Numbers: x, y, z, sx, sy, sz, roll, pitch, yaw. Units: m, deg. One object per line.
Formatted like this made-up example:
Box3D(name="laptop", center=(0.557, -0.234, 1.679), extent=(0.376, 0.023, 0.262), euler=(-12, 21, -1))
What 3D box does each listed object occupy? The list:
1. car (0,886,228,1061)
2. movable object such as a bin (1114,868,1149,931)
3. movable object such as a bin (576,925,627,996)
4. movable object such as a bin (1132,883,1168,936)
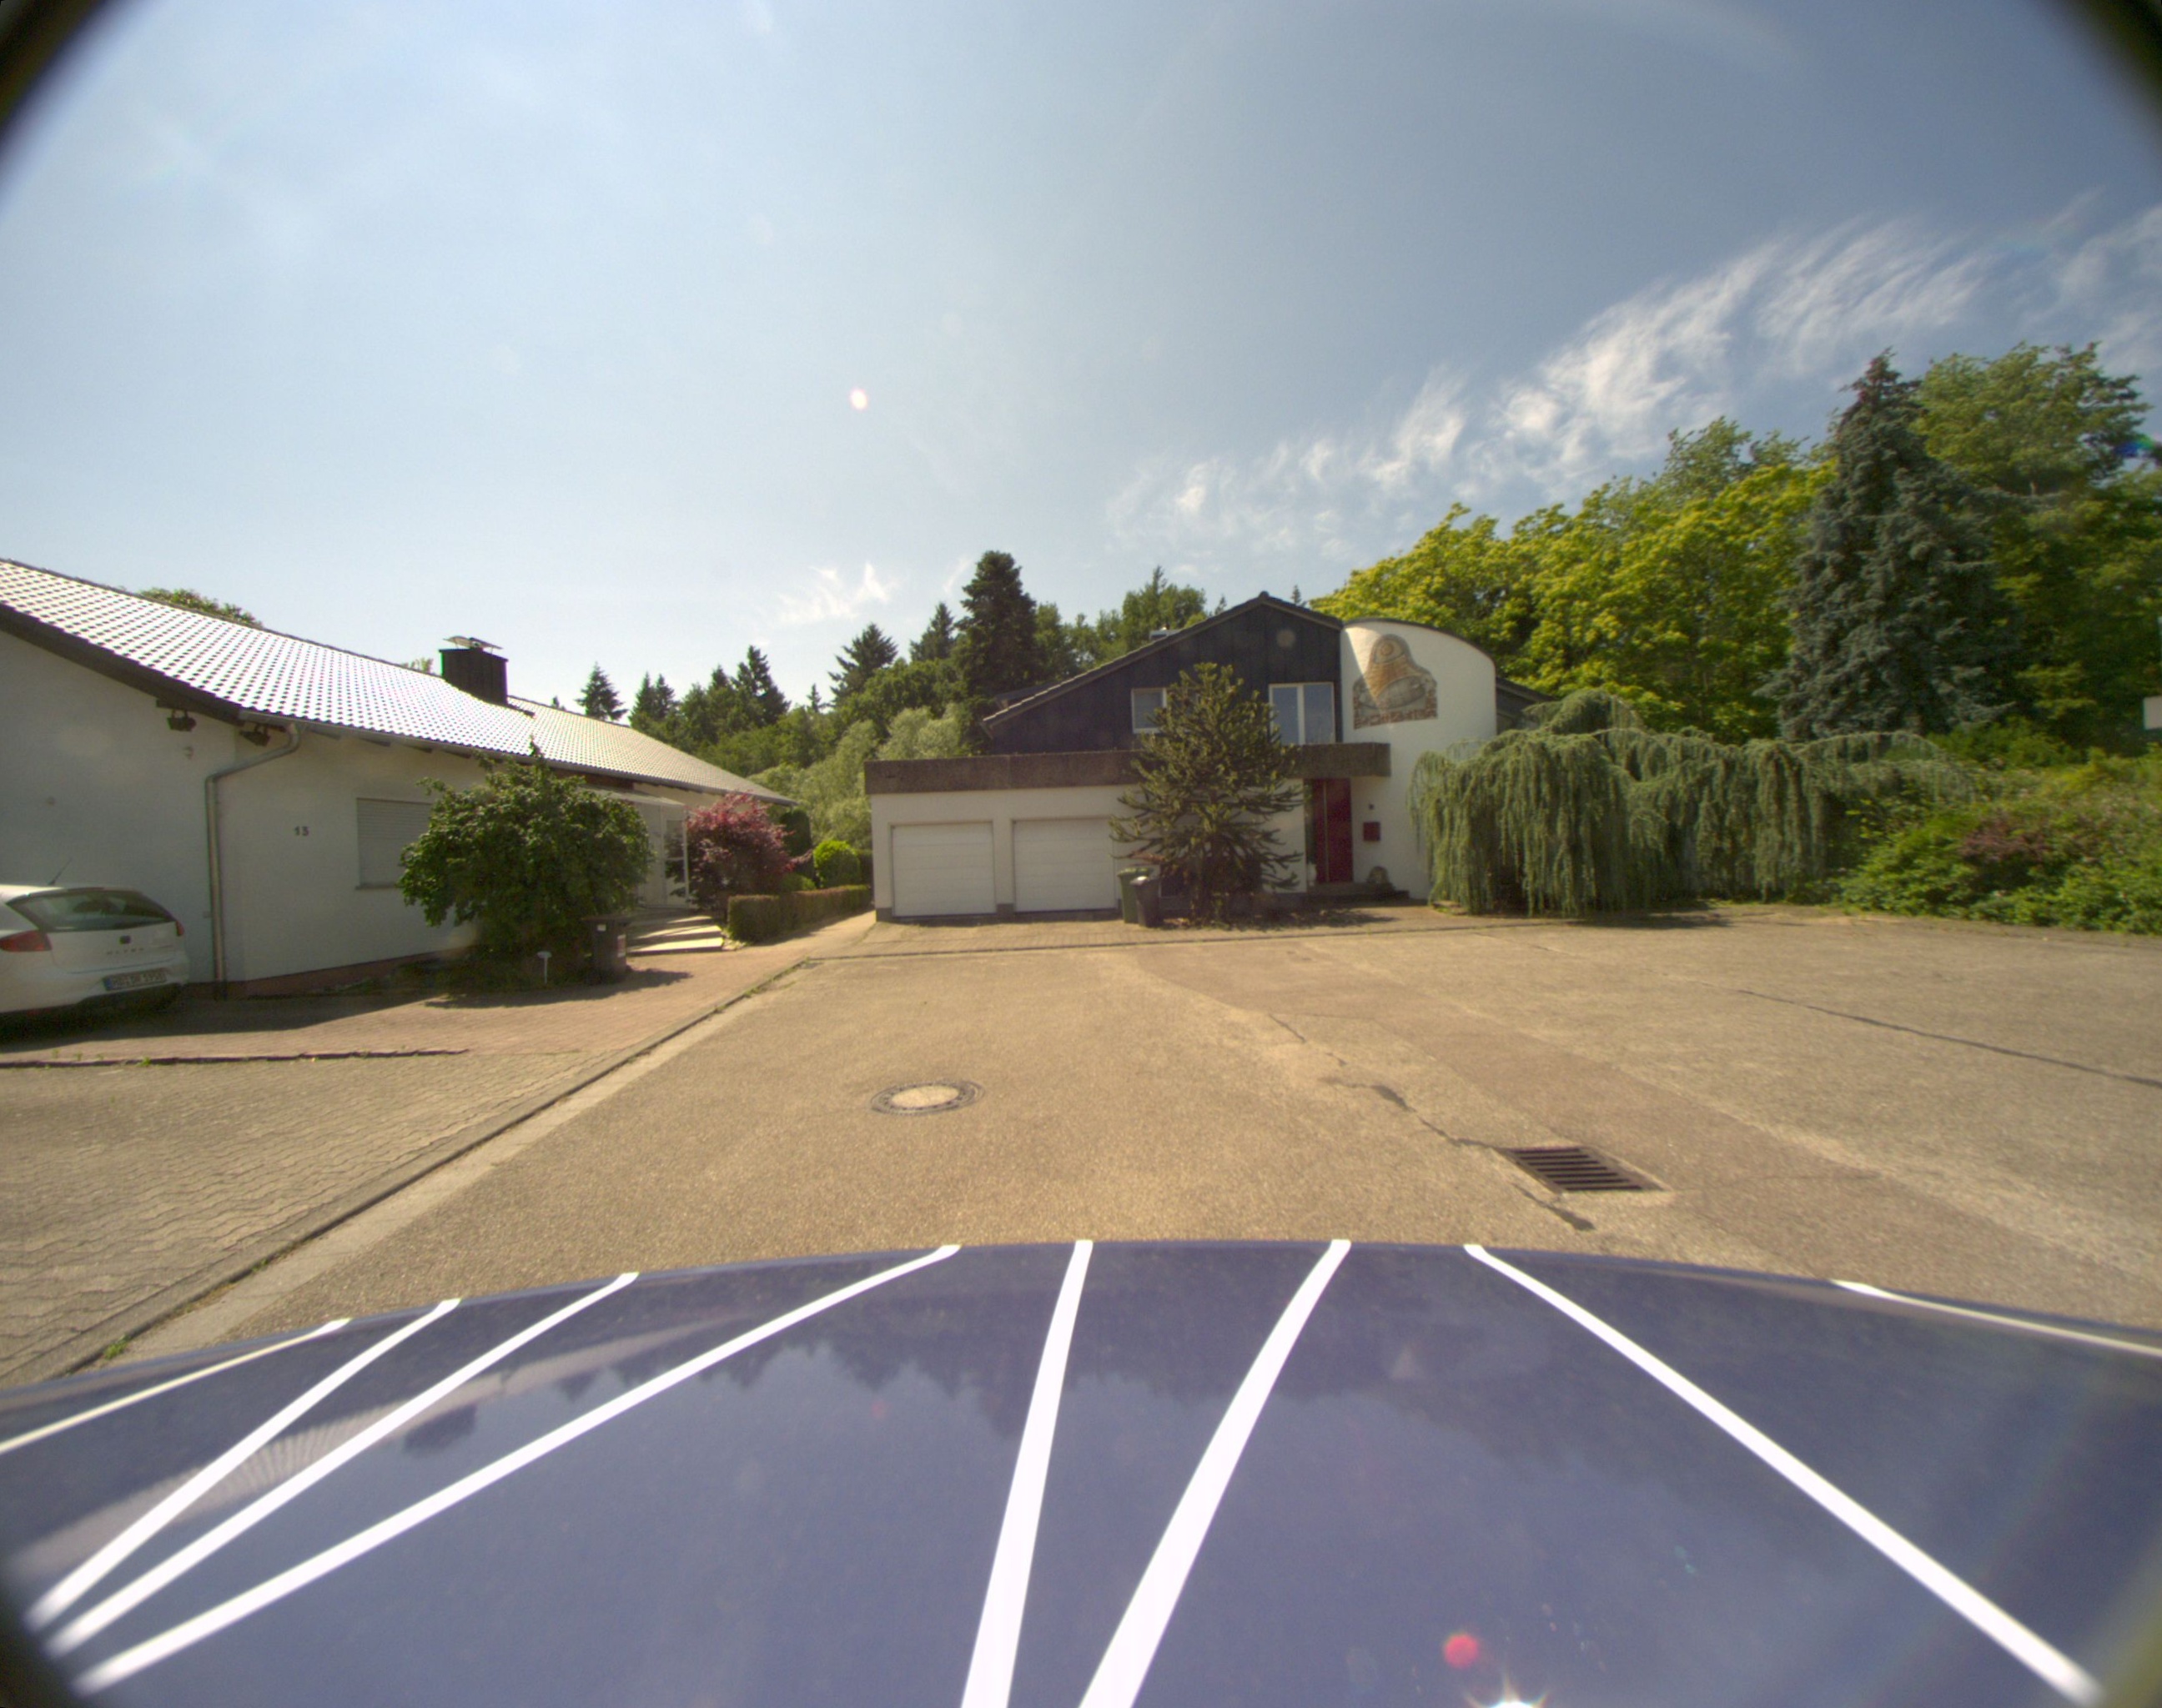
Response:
Box3D(name="car", center=(-12.026, 1.227, 7.947), extent=(3.998, 1.559, 1.751), euler=(-2, 1, -3))
Box3D(name="movable object such as a bin", center=(1.001, 0.891, 15.106), extent=(0.633, 1.196, 0.551), euler=(-2, 1, 1))
Box3D(name="movable object such as a bin", center=(-6.370, 1.410, 10.112), extent=(0.390, 0.886, 0.375), euler=(-2, 2, -1))
Box3D(name="movable object such as a bin", center=(1.305, 1.039, 14.400), extent=(0.524, 0.944, 0.388), euler=(-3, 1, -26))
